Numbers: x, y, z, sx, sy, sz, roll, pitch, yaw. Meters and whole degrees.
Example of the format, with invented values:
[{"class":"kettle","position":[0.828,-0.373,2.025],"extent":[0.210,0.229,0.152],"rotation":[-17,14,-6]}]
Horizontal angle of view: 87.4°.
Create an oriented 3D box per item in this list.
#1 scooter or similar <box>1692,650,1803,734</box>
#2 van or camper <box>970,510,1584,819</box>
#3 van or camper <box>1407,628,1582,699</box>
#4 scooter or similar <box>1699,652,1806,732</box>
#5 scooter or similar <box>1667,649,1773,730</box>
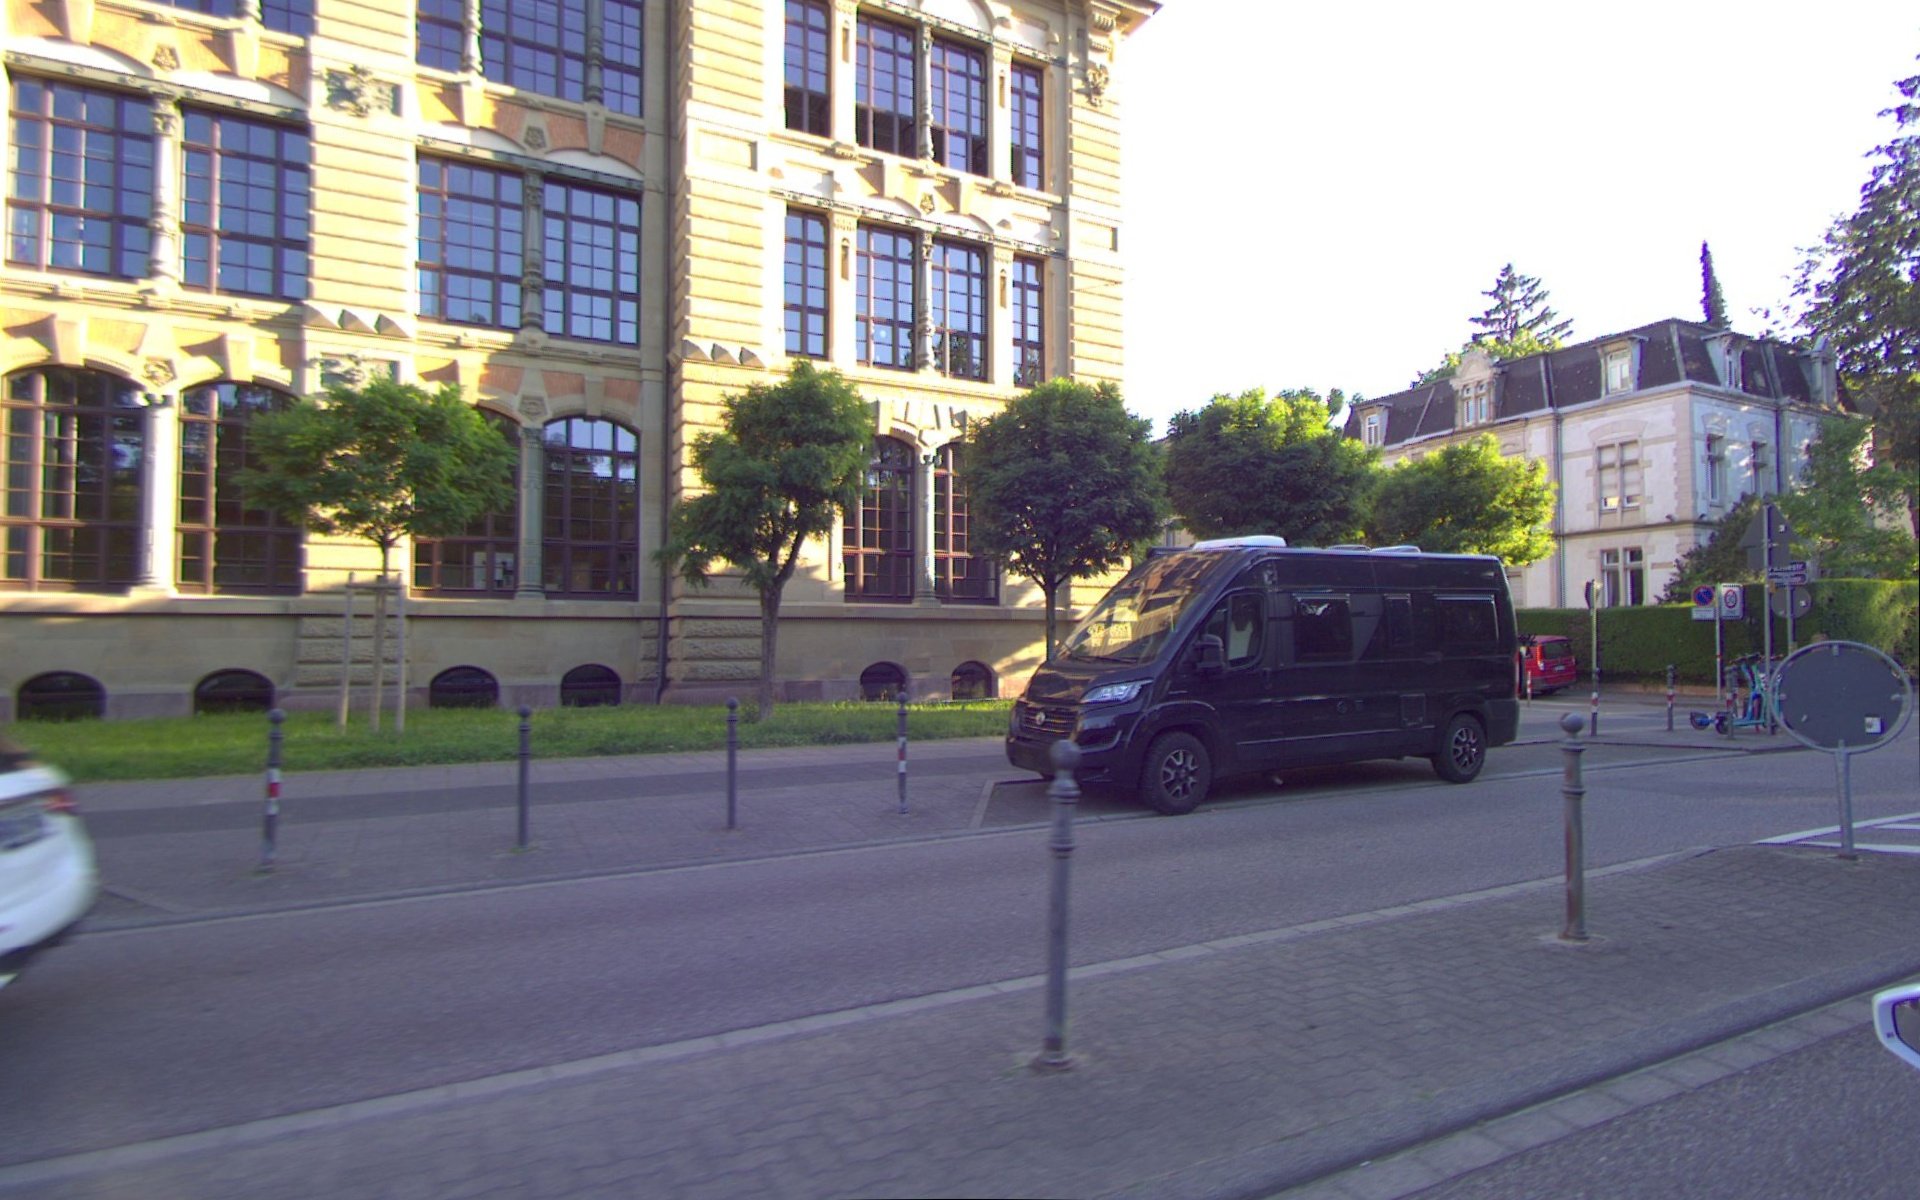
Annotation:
[{"class":"scooter or similar","position":[12.485,1.448,15.953],"extent":[1.317,1.291,0.432],"rotation":[0,-2,8]},{"class":"van or camper","position":[3.702,0.637,11.049],"extent":[6.992,2.578,2.221],"rotation":[2,-1,-28]},{"class":"van or camper","position":[17.347,2.041,32.884],"extent":[1.973,2.012,4.756],"rotation":[-4,-1,-25]},{"class":"scooter or similar","position":[13.227,1.516,16.796],"extent":[1.319,1.291,0.431],"rotation":[-1,-3,28]},{"class":"scooter or similar","position":[12.556,1.466,16.624],"extent":[1.319,1.291,0.431],"rotation":[-1,-3,28]}]
